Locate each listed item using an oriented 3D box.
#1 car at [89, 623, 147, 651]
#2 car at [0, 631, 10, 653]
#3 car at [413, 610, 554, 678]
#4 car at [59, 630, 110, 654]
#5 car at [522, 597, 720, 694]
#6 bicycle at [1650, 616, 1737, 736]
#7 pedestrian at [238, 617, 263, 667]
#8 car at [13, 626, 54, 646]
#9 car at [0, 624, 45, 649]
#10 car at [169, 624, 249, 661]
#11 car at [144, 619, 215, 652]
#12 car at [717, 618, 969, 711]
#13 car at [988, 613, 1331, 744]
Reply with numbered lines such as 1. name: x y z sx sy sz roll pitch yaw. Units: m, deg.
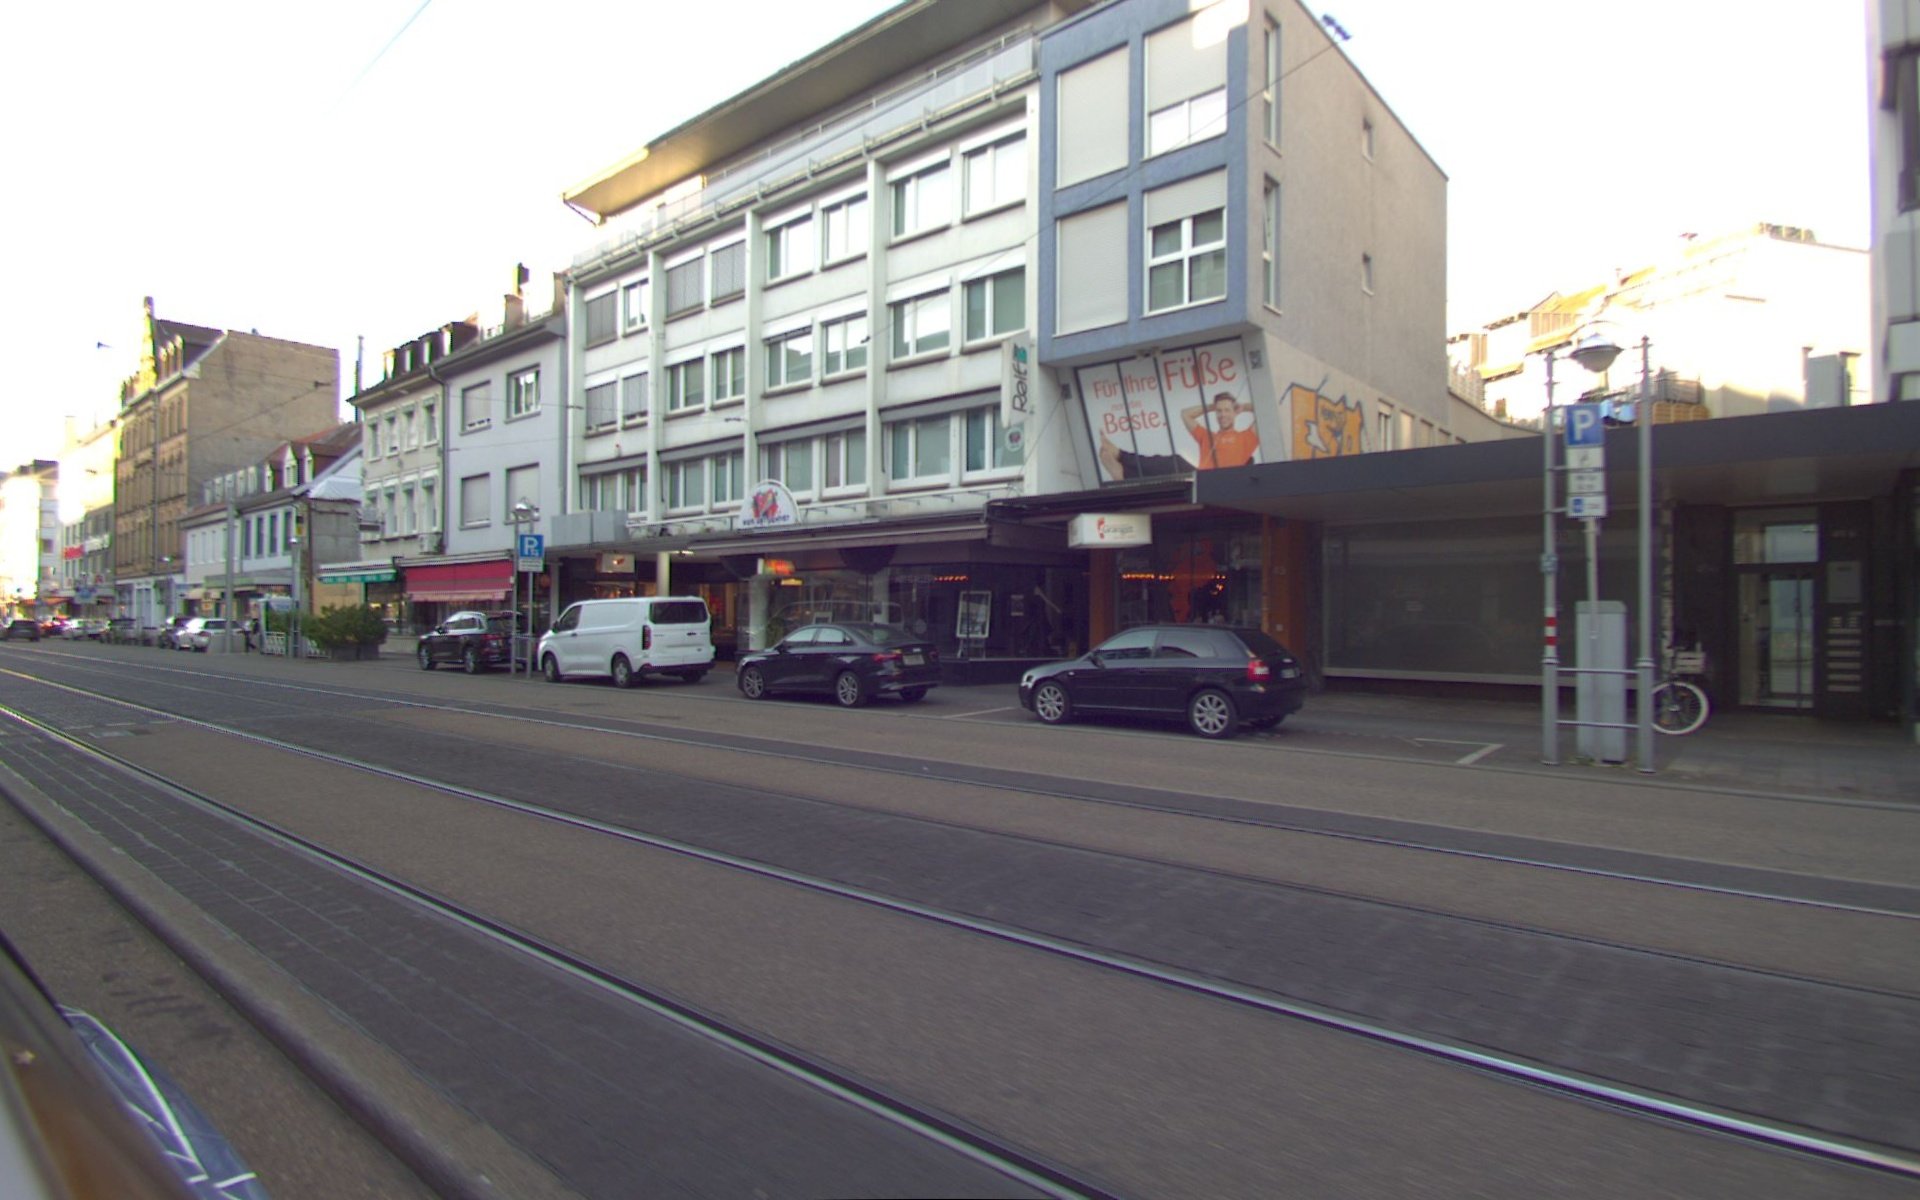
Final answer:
1. car: -49.566 2.170 59.558 3.997 1.564 1.973 -1 -2 41
2. car: -71.665 3.111 74.565 3.997 1.564 1.973 -1 -2 41
3. car: -13.331 1.171 28.187 4.524 1.734 1.839 -1 -1 40
4. car: -58.475 2.778 67.571 4.204 1.564 1.973 -1 -2 41
5. car: -7.914 1.005 23.360 5.158 1.992 1.935 -1 -2 40
6. bicycle: 9.578 0.942 13.195 0.833 1.436 1.950 -1 -2 37
7. pedestrian: -29.312 1.739 41.810 0.811 2.029 0.714 1 -2 -34
8. car: -74.744 2.911 81.617 3.997 1.564 1.973 -1 -2 41
9. car: -59.080 2.267 63.507 3.997 1.564 1.973 -1 -2 41
10. car: -34.110 1.870 45.892 4.876 1.556 1.972 -1 -1 42
11. car: -38.123 1.711 49.398 4.550 1.556 1.889 -1 -2 41
12. car: -2.221 1.087 18.458 4.554 1.477 1.973 -1 -1 40
13. car: 2.645 0.976 14.092 4.442 1.523 1.669 -1 -1 40
